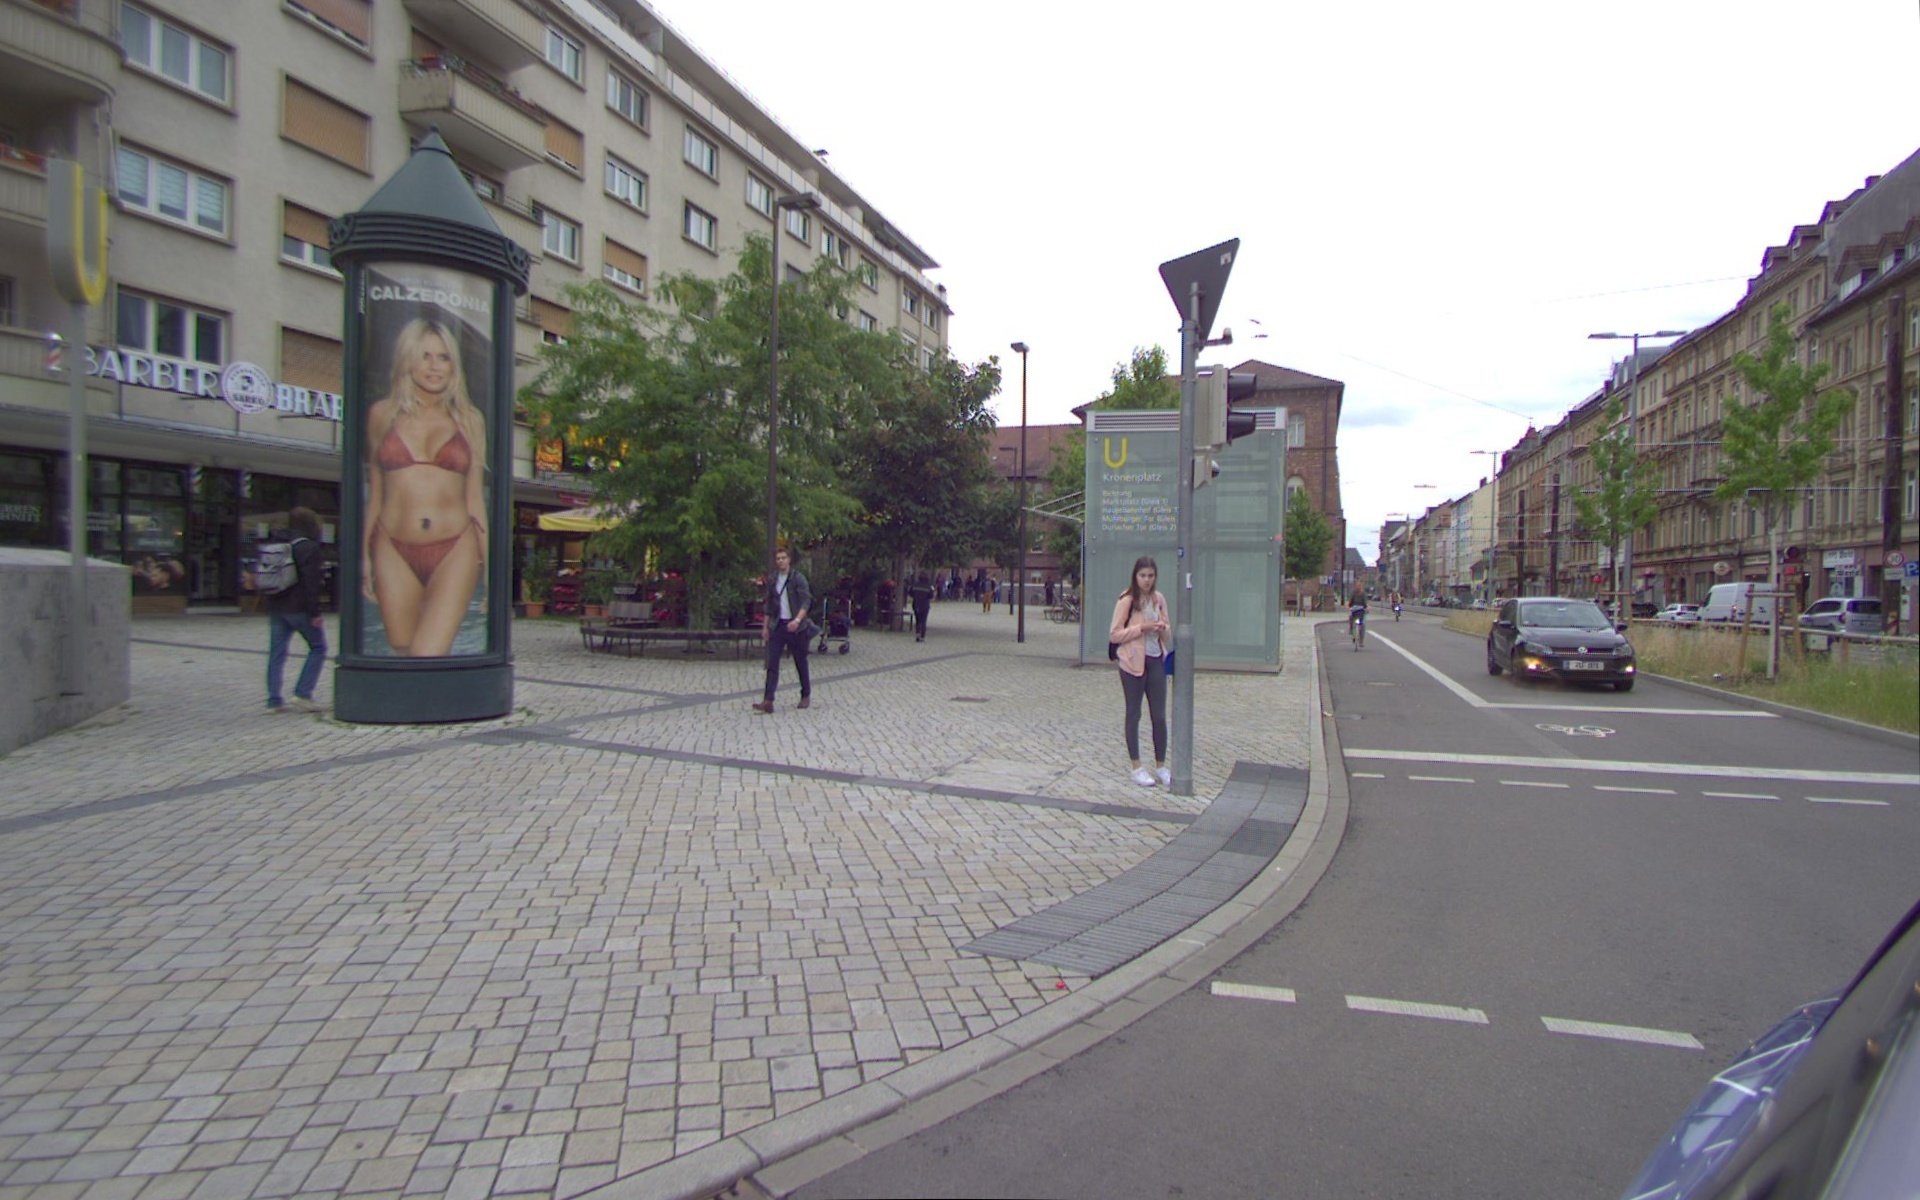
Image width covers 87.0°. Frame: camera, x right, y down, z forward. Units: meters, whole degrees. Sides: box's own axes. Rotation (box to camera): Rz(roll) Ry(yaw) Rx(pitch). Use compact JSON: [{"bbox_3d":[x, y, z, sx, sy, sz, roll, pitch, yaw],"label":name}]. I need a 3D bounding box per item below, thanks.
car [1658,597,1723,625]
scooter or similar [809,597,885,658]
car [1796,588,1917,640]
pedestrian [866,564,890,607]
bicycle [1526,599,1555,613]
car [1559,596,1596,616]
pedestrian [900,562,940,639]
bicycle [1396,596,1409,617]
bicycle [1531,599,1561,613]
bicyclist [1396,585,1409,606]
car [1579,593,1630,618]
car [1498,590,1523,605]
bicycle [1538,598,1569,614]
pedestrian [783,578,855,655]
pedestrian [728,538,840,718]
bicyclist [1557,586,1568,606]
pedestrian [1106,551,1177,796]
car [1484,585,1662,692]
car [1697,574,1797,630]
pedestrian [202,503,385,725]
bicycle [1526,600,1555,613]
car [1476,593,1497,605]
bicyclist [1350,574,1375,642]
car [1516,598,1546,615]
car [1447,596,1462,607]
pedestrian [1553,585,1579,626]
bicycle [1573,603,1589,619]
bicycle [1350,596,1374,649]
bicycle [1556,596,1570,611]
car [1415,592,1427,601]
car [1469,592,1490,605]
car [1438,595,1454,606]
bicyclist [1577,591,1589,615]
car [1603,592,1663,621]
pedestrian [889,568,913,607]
[{"bbox_3d":[41.871,0.609,58.137,1.754,1.440,4.141,4,2,18],"label":"car"},{"bbox_3d":[-2.059,0.478,18.250,0.710,0.960,1.594,2,2,-32],"label":"scooter or similar"},{"bbox_3d":[35.853,0.504,40.647,1.884,1.887,4.494,3,1,18],"label":"car"},{"bbox_3d":[-3.711,-0.652,45.665,0.835,1.909,0.776,0,0,-32],"label":"pedestrian"},{"bbox_3d":[54.776,0.544,95.509,2.262,1.218,0.700,3,1,21],"label":"bicycle"},{"bbox_3d":[50.470,0.470,82.742,1.727,1.507,3.896,2,1,19],"label":"car"},{"bbox_3d":[-0.916,-0.002,23.065,0.618,1.705,0.866,3,1,16],"label":"pedestrian"},{"bbox_3d":[25.512,0.375,58.360,0.466,1.173,2.259,1,1,19],"label":"bicycle"},{"bbox_3d":[54.564,0.538,94.210,2.262,1.218,0.700,3,1,21],"label":"bicycle"},{"bbox_3d":[25.514,-0.252,58.376,0.580,1.186,0.658,1,1,19],"label":"bicyclist"},{"bbox_3d":[47.876,0.397,75.266,1.794,1.711,5.004,2,1,17],"label":"car"},{"bbox_3d":[59.644,-0.265,109.704,1.728,1.507,3.894,2,1,20],"label":"car"},{"bbox_3d":[53.717,0.557,91.617,2.262,1.346,0.662,3,1,21],"label":"bicycle"},{"bbox_3d":[-2.551,0.278,18.364,1.037,1.313,0.726,3,1,25],"label":"pedestrian"},{"bbox_3d":[-1.902,0.271,11.060,0.707,1.824,1.071,4,2,19],"label":"pedestrian"},{"bbox_3d":[44.040,-0.286,73.950,0.474,1.424,0.807,2,1,18],"label":"bicyclist"},{"bbox_3d":[1.391,0.528,7.712,0.516,1.784,0.599,0,0,12],"label":"pedestrian"},{"bbox_3d":[10.075,0.541,16.925,1.725,1.566,3.629,1,1,18],"label":"car"},{"bbox_3d":[39.308,0.070,50.728,2.033,2.517,5.632,4,1,18],"label":"car"},{"bbox_3d":[-6.103,0.096,9.307,0.799,1.885,1.141,3,2,30],"label":"pedestrian"},{"bbox_3d":[55.130,0.588,96.102,2.261,1.218,0.544,1,0,21],"label":"bicycle"},{"bbox_3d":[66.119,-0.135,127.222,1.727,1.483,4.020,2,1,19],"label":"car"},{"bbox_3d":[10.280,0.193,25.867,0.564,1.705,0.788,1,0,21],"label":"bicyclist"},{"bbox_3d":[56.370,0.646,100.001,1.727,1.552,4.199,2,1,19],"label":"car"},{"bbox_3d":[77.915,0.161,159.496,1.685,1.692,4.152,0,0,21],"label":"car"},{"bbox_3d":[29.435,0.268,49.135,0.861,1.925,0.768,2,0,19],"label":"pedestrian"},{"bbox_3d":[42.095,0.769,68.573,0.471,1.033,1.901,2,1,18],"label":"bicycle"},{"bbox_3d":[10.266,0.555,25.863,0.518,1.276,1.928,1,1,20],"label":"bicycle"},{"bbox_3d":[44.025,0.268,73.918,0.474,1.033,1.901,2,1,18],"label":"bicycle"},{"bbox_3d":[90.548,-0.649,198.879,1.846,1.582,3.974,3,1,20],"label":"car"},{"bbox_3d":[67.547,-0.205,131.573,1.807,1.540,4.515,2,0,20],"label":"car"},{"bbox_3d":[81.529,0.048,169.777,1.905,1.754,3.803,0,0,19],"label":"car"},{"bbox_3d":[42.046,0.213,68.340,0.486,1.560,0.807,1,1,18],"label":"bicyclist"},{"bbox_3d":[44.483,0.395,66.976,1.900,1.710,5.023,4,2,18],"label":"car"},{"bbox_3d":[-2.732,-0.581,46.865,0.703,1.773,0.777,2,1,-32],"label":"pedestrian"}]
